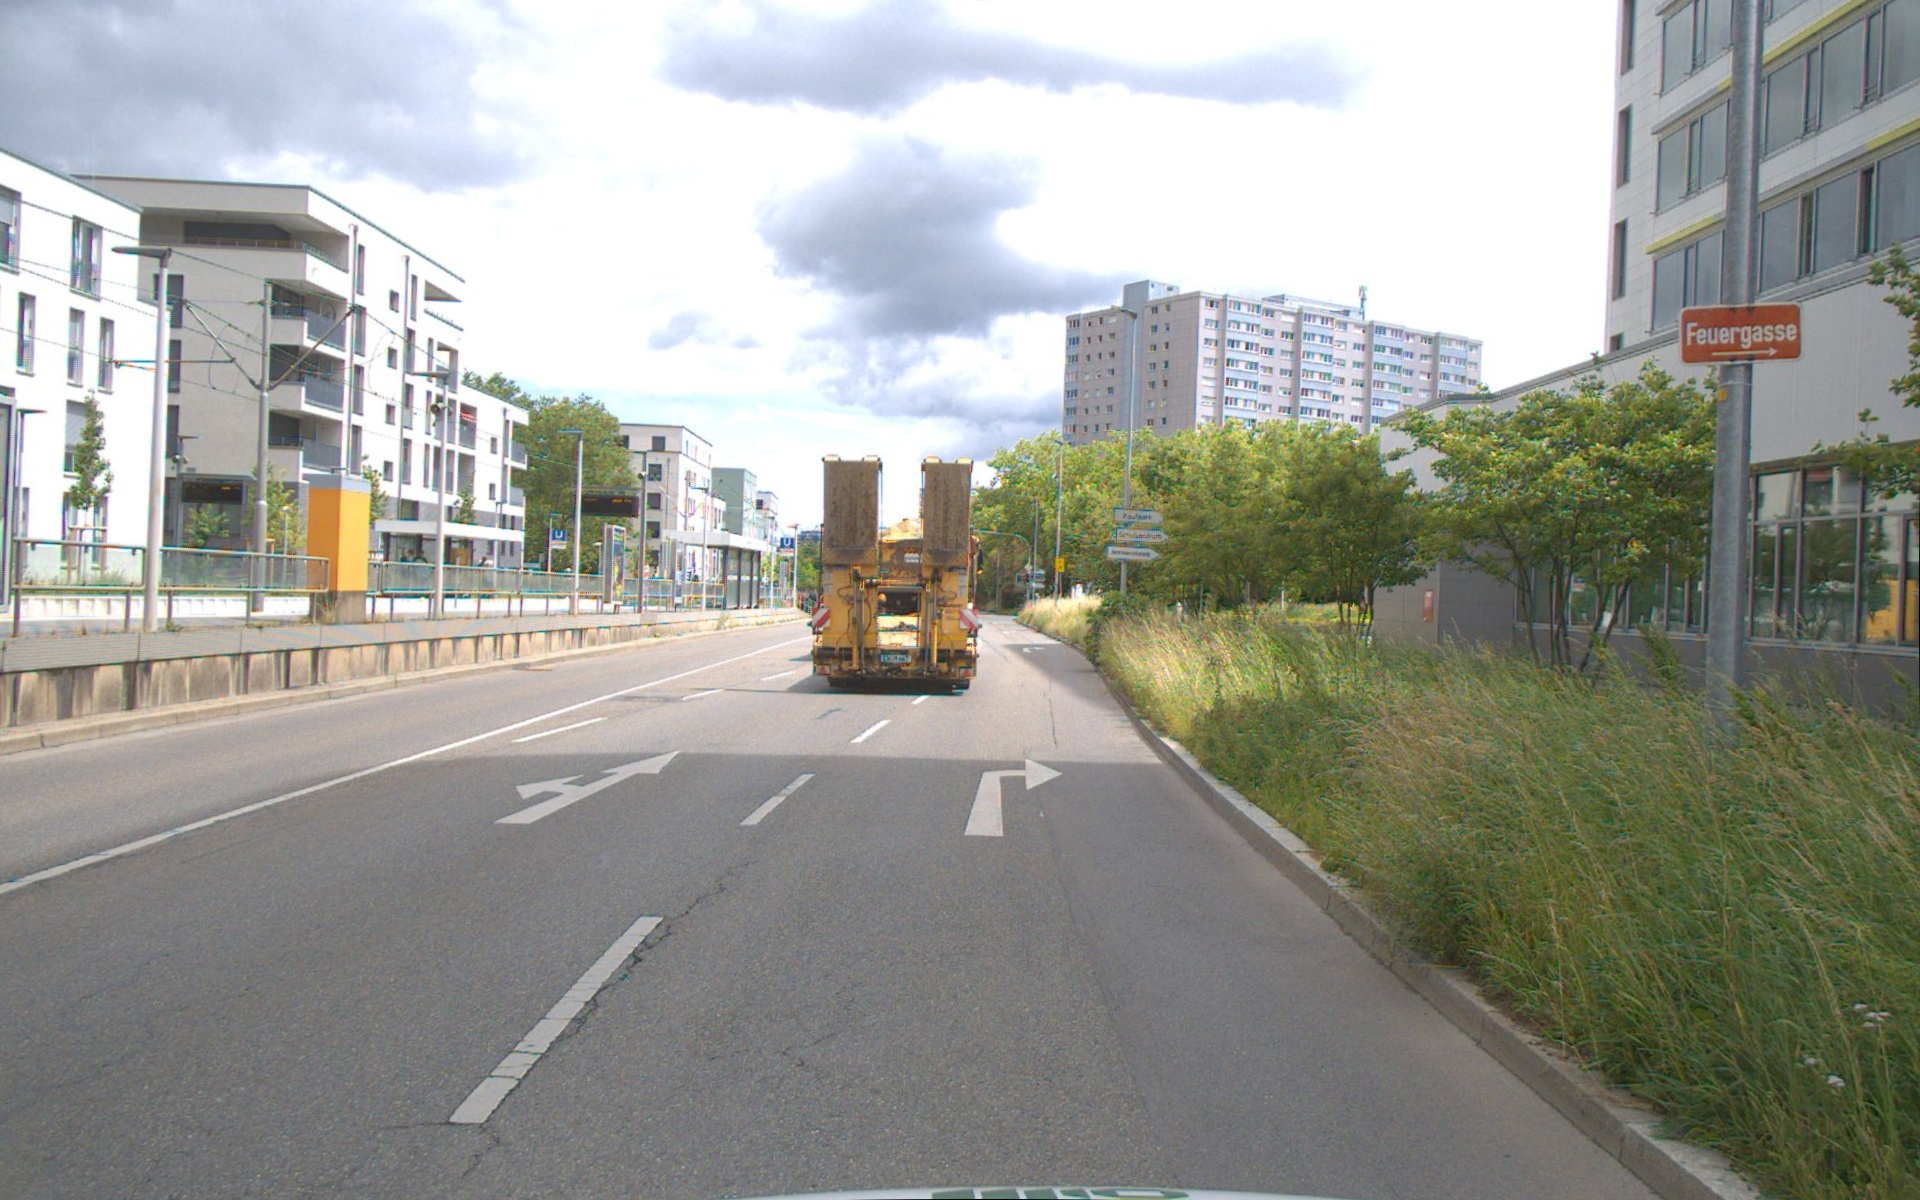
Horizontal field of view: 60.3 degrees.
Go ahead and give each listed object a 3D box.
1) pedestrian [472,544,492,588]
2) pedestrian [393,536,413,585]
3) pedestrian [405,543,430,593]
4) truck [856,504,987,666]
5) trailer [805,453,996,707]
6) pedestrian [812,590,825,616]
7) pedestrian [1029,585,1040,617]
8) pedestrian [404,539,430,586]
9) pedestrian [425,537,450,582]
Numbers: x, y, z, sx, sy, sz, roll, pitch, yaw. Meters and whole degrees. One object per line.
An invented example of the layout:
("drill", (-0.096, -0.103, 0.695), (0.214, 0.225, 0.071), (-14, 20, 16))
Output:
("pedestrian", (-19.993, -1.421, 69.177), (0.550, 1.796, 0.678), (2, 0, 2))
("pedestrian", (-20.216, -1.429, 60.026), (0.483, 1.755, 0.670), (2, 0, -34))
("pedestrian", (-20.136, -1.182, 61.420), (0.479, 1.796, 0.675), (2, 0, 34))
("truck", (-0.842, -0.342, 39.715), (2.697, 3.371, 8.351), (2, 0, 0))
("trailer", (-0.871, -0.315, 29.924), (2.673, 3.621, 11.253), (2, 0, 0))
("pedestrian", (-8.884, 0.177, 103.903), (0.667, 1.630, 0.823), (2, 0, -1))
("pedestrian", (4.800, 0.096, 106.982), (0.551, 2.049, 0.491), (2, -1, -9))
("pedestrian", (-19.540, -1.349, 59.542), (0.480, 1.624, 0.673), (2, 0, 43))
("pedestrian", (-19.202, -1.477, 60.771), (0.479, 1.624, 0.675), (2, 0, 34))
